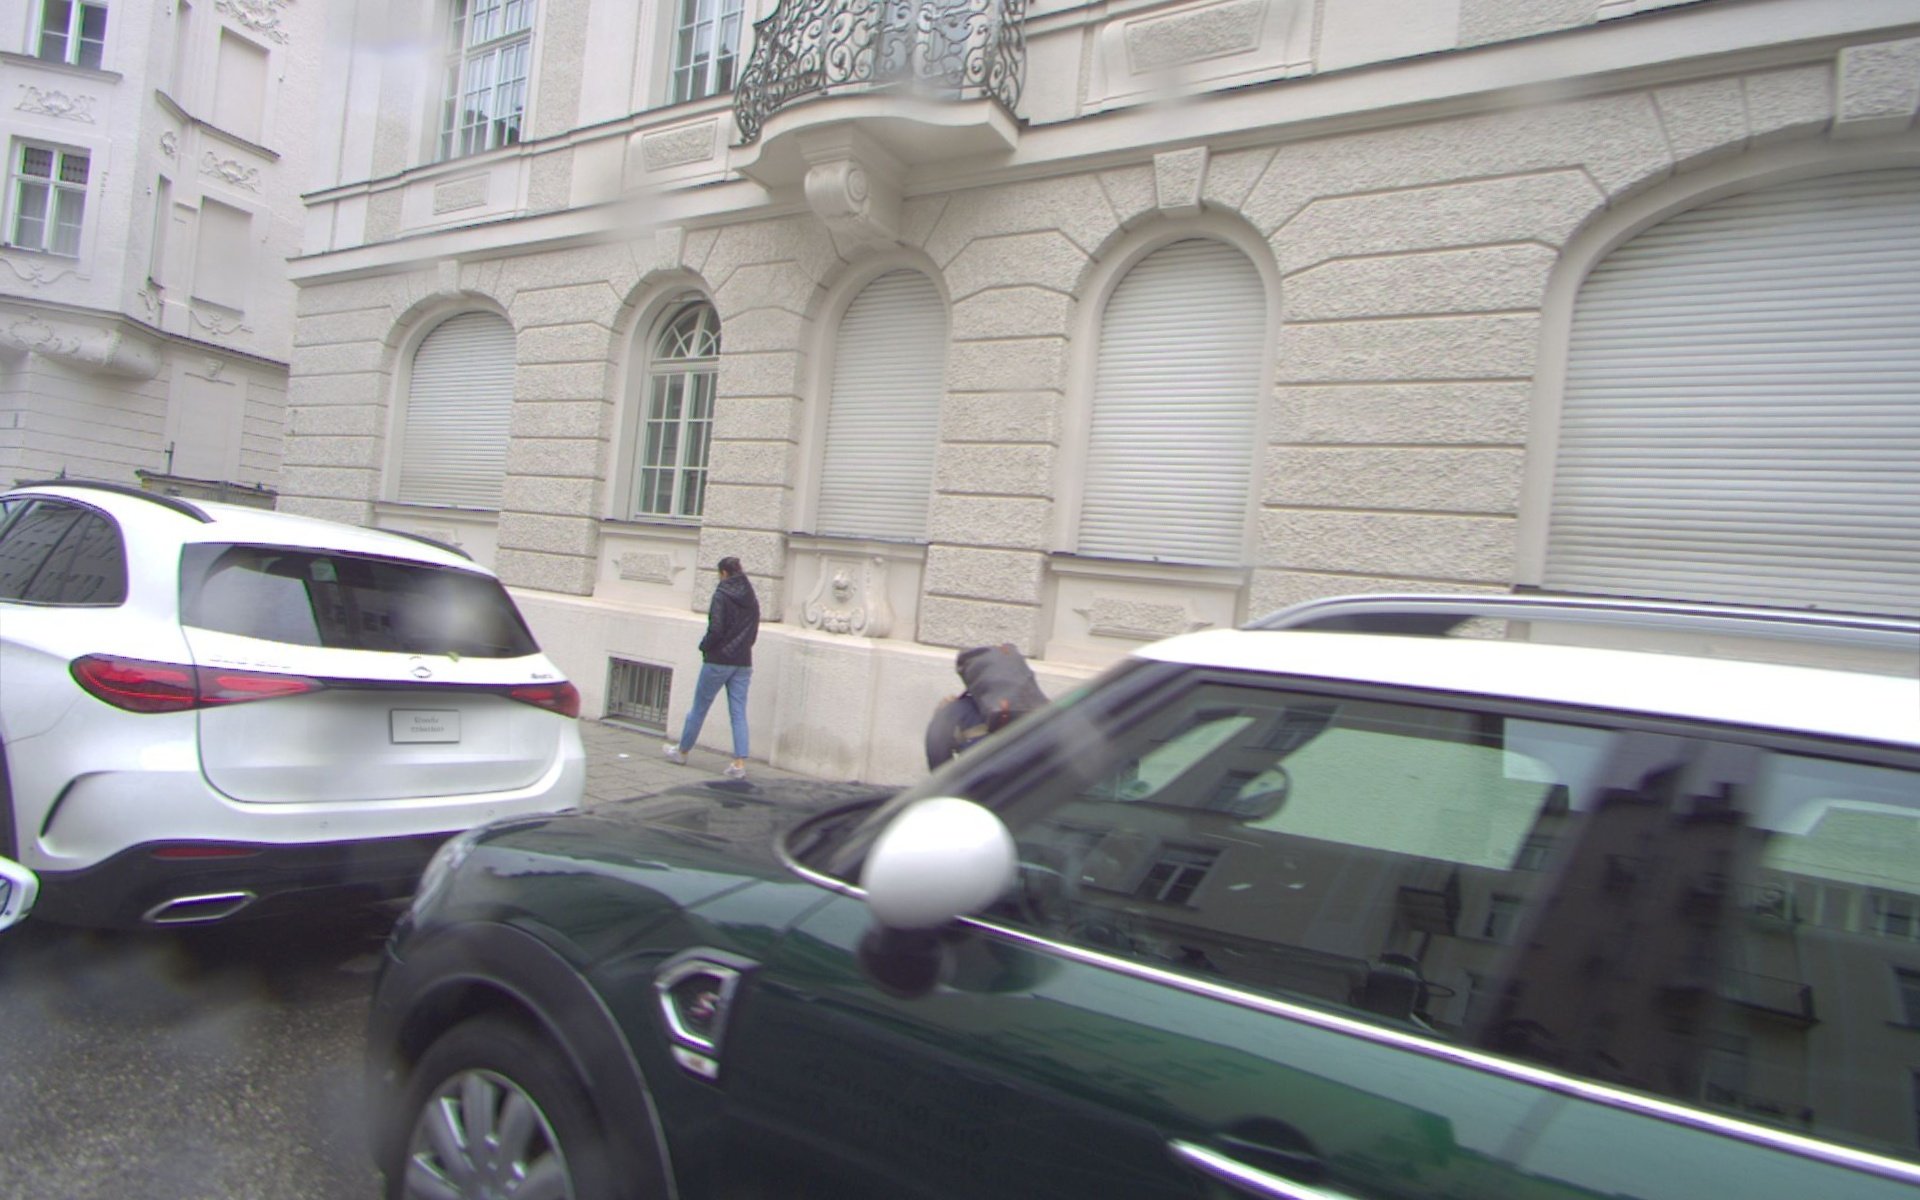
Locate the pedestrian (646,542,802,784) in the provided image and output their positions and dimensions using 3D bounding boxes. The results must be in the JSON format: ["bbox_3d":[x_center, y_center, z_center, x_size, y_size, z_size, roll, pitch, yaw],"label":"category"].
[{"bbox_3d":[-1.818,0.457,7.760,0.798,1.701,0.682,7,3,31],"label":"pedestrian"}]

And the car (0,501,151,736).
[{"bbox_3d":[-7.933,-0.058,7.358,3.932,1.519,1.711,6,-1,29],"label":"car"}]

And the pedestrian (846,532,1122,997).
[{"bbox_3d":[0.106,0.649,4.459,0.841,1.800,0.682,7,3,33],"label":"pedestrian"}]

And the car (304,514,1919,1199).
[{"bbox_3d":[0.847,0.839,1.796,4.102,1.543,1.751,6,-1,32],"label":"car"}]

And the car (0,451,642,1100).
[{"bbox_3d":[-3.687,0.308,4.498,4.320,1.656,1.897,7,0,33],"label":"car"}]
